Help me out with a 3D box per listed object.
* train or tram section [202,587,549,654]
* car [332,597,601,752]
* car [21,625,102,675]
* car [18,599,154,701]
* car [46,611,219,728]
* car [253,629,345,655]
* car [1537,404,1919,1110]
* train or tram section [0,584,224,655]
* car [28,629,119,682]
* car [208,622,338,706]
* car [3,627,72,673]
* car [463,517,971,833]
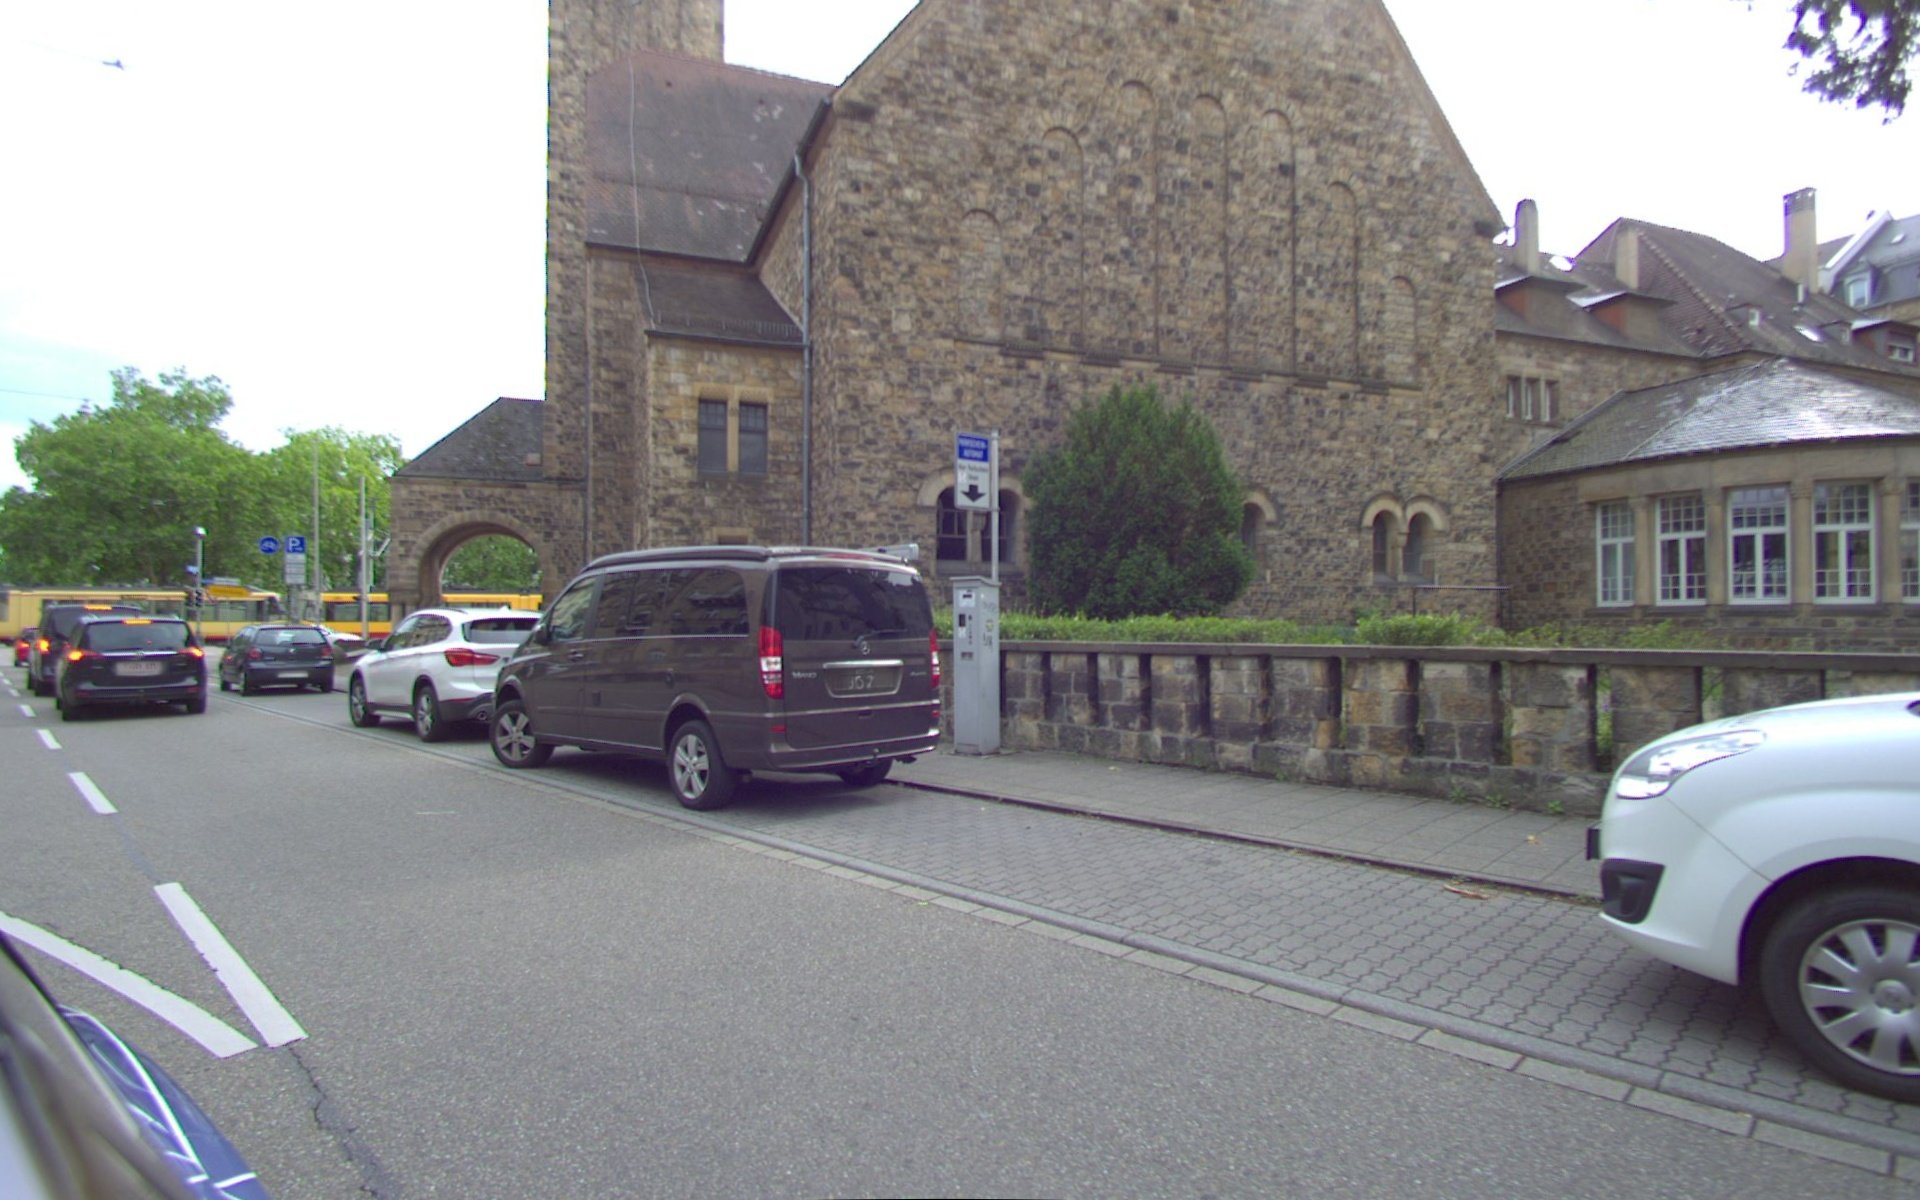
[{"bbox_3d":[-38.038,1.423,67.325,19.604,4.124,3.639,1,-1,-19],"label":"train or tram section"},{"bbox_3d":[-6.624,0.889,13.345,4.434,1.701,1.822,-2,-2,45],"label":"car"},{"bbox_3d":[-28.705,1.569,32.301,3.719,1.468,1.584,-1,-4,44],"label":"car"},{"bbox_3d":[-19.161,1.048,22.097,1.890,1.969,5.287,1,-2,-44],"label":"car"},{"bbox_3d":[-13.936,1.074,16.936,1.823,1.697,4.551,1,-2,-44],"label":"car"},{"bbox_3d":[-36.406,2.304,55.846,3.931,1.406,1.886,0,-2,-19],"label":"car"},{"bbox_3d":[4.226,0.411,2.458,1.821,1.954,4.552,1,-2,-43],"label":"car"},{"bbox_3d":[-54.310,1.186,61.718,14.779,4.124,3.593,1,-1,-19],"label":"train or tram section"},{"bbox_3d":[-24.091,1.479,27.450,1.684,1.296,4.046,4,-4,-43],"label":"car"},{"bbox_3d":[-14.721,1.278,21.598,1.627,1.520,3.774,-1,1,-45],"label":"car"},{"bbox_3d":[-33.205,1.797,36.397,1.630,1.540,3.896,5,-5,-44],"label":"car"},{"bbox_3d":[-2.447,0.550,9.055,5.185,2.029,1.990,-2,-2,45],"label":"car"}]
